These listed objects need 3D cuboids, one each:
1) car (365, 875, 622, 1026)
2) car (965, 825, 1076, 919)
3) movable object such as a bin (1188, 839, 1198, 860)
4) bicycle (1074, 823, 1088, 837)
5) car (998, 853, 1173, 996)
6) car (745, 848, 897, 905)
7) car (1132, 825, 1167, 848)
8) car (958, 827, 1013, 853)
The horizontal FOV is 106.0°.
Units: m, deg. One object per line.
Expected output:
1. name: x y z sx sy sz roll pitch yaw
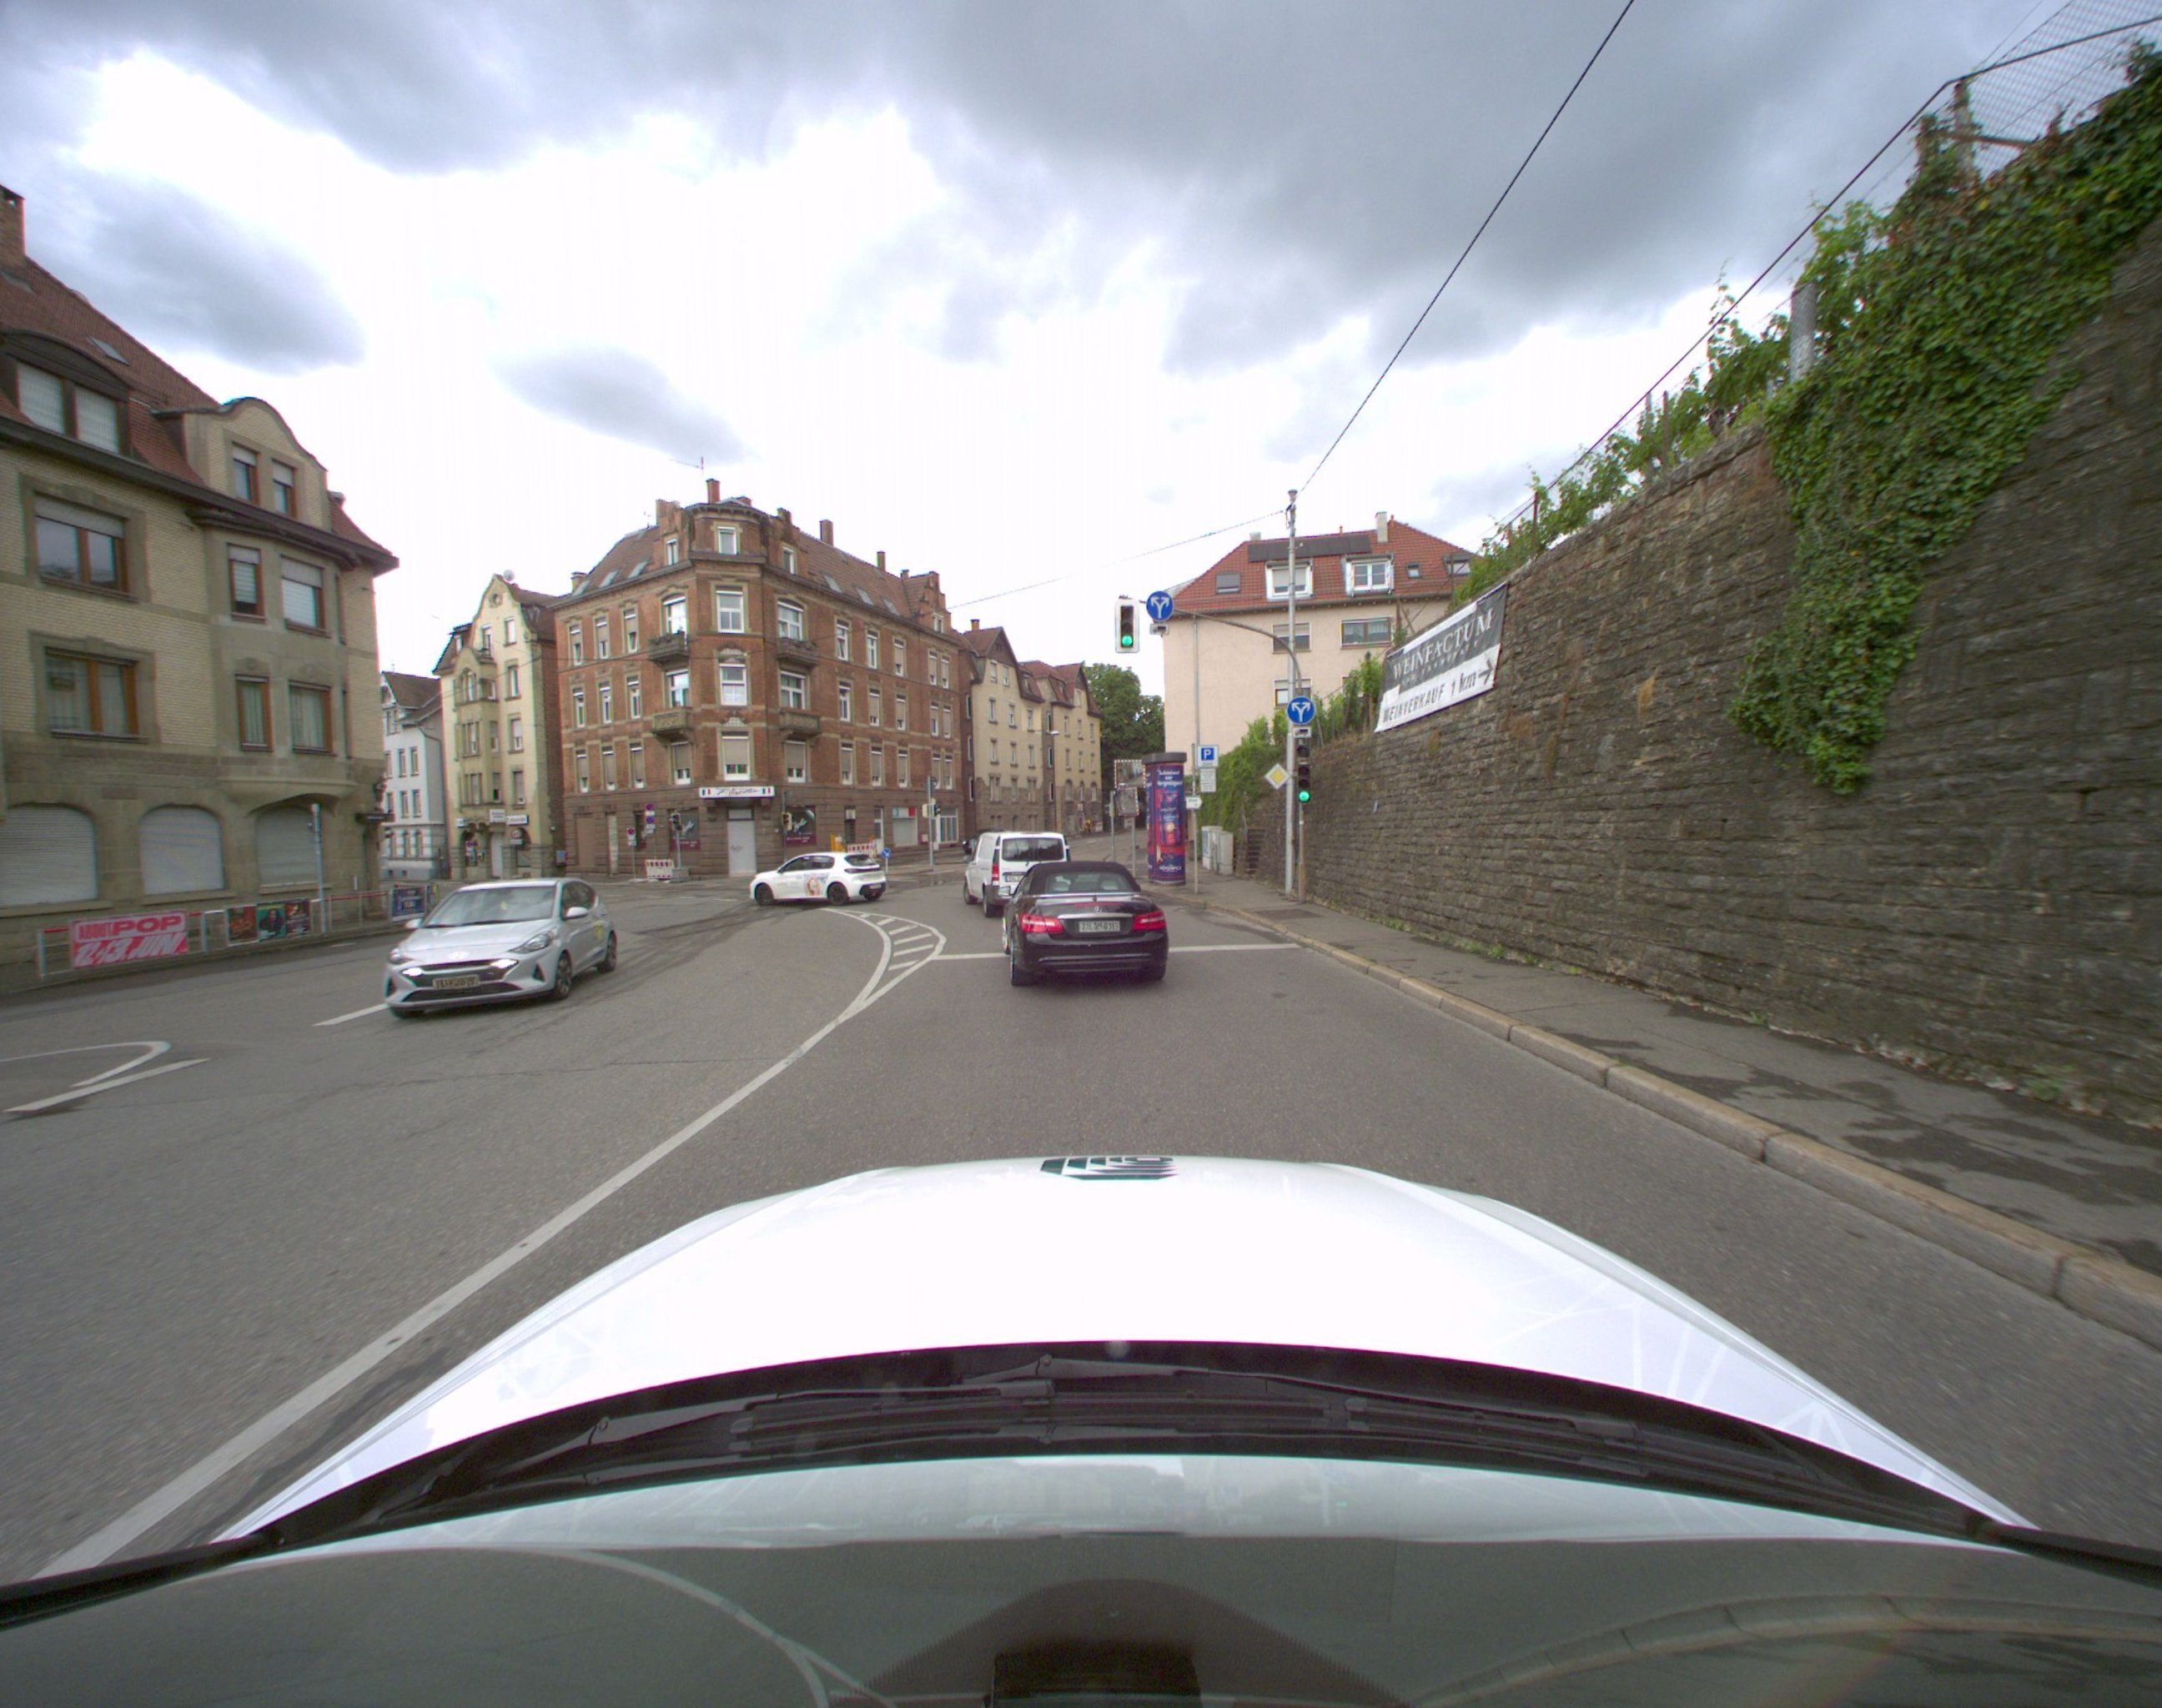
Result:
1. car: -7.381 1.106 10.665 1.675 1.467 3.619 -5 -1 -19
2. car: -1.603 0.383 19.644 1.894 1.929 4.623 -2 0 -14
3. movable object such as a bin: 5.017 -0.196 36.602 0.343 0.911 0.494 -2 0 -4
4. bicycle: -0.013 -2.322 78.352 0.627 1.306 2.609 -5 2 13
5. car: -0.165 0.731 10.686 1.760 1.409 4.389 -2 0 -6
6. car: -7.374 0.638 23.085 3.871 1.466 1.696 -2 0 23
7. car: 5.998 -1.557 71.003 1.933 1.718 4.021 -4 2 20
8. car: -6.416 -0.970 55.227 1.978 1.514 4.307 -2 3 17
